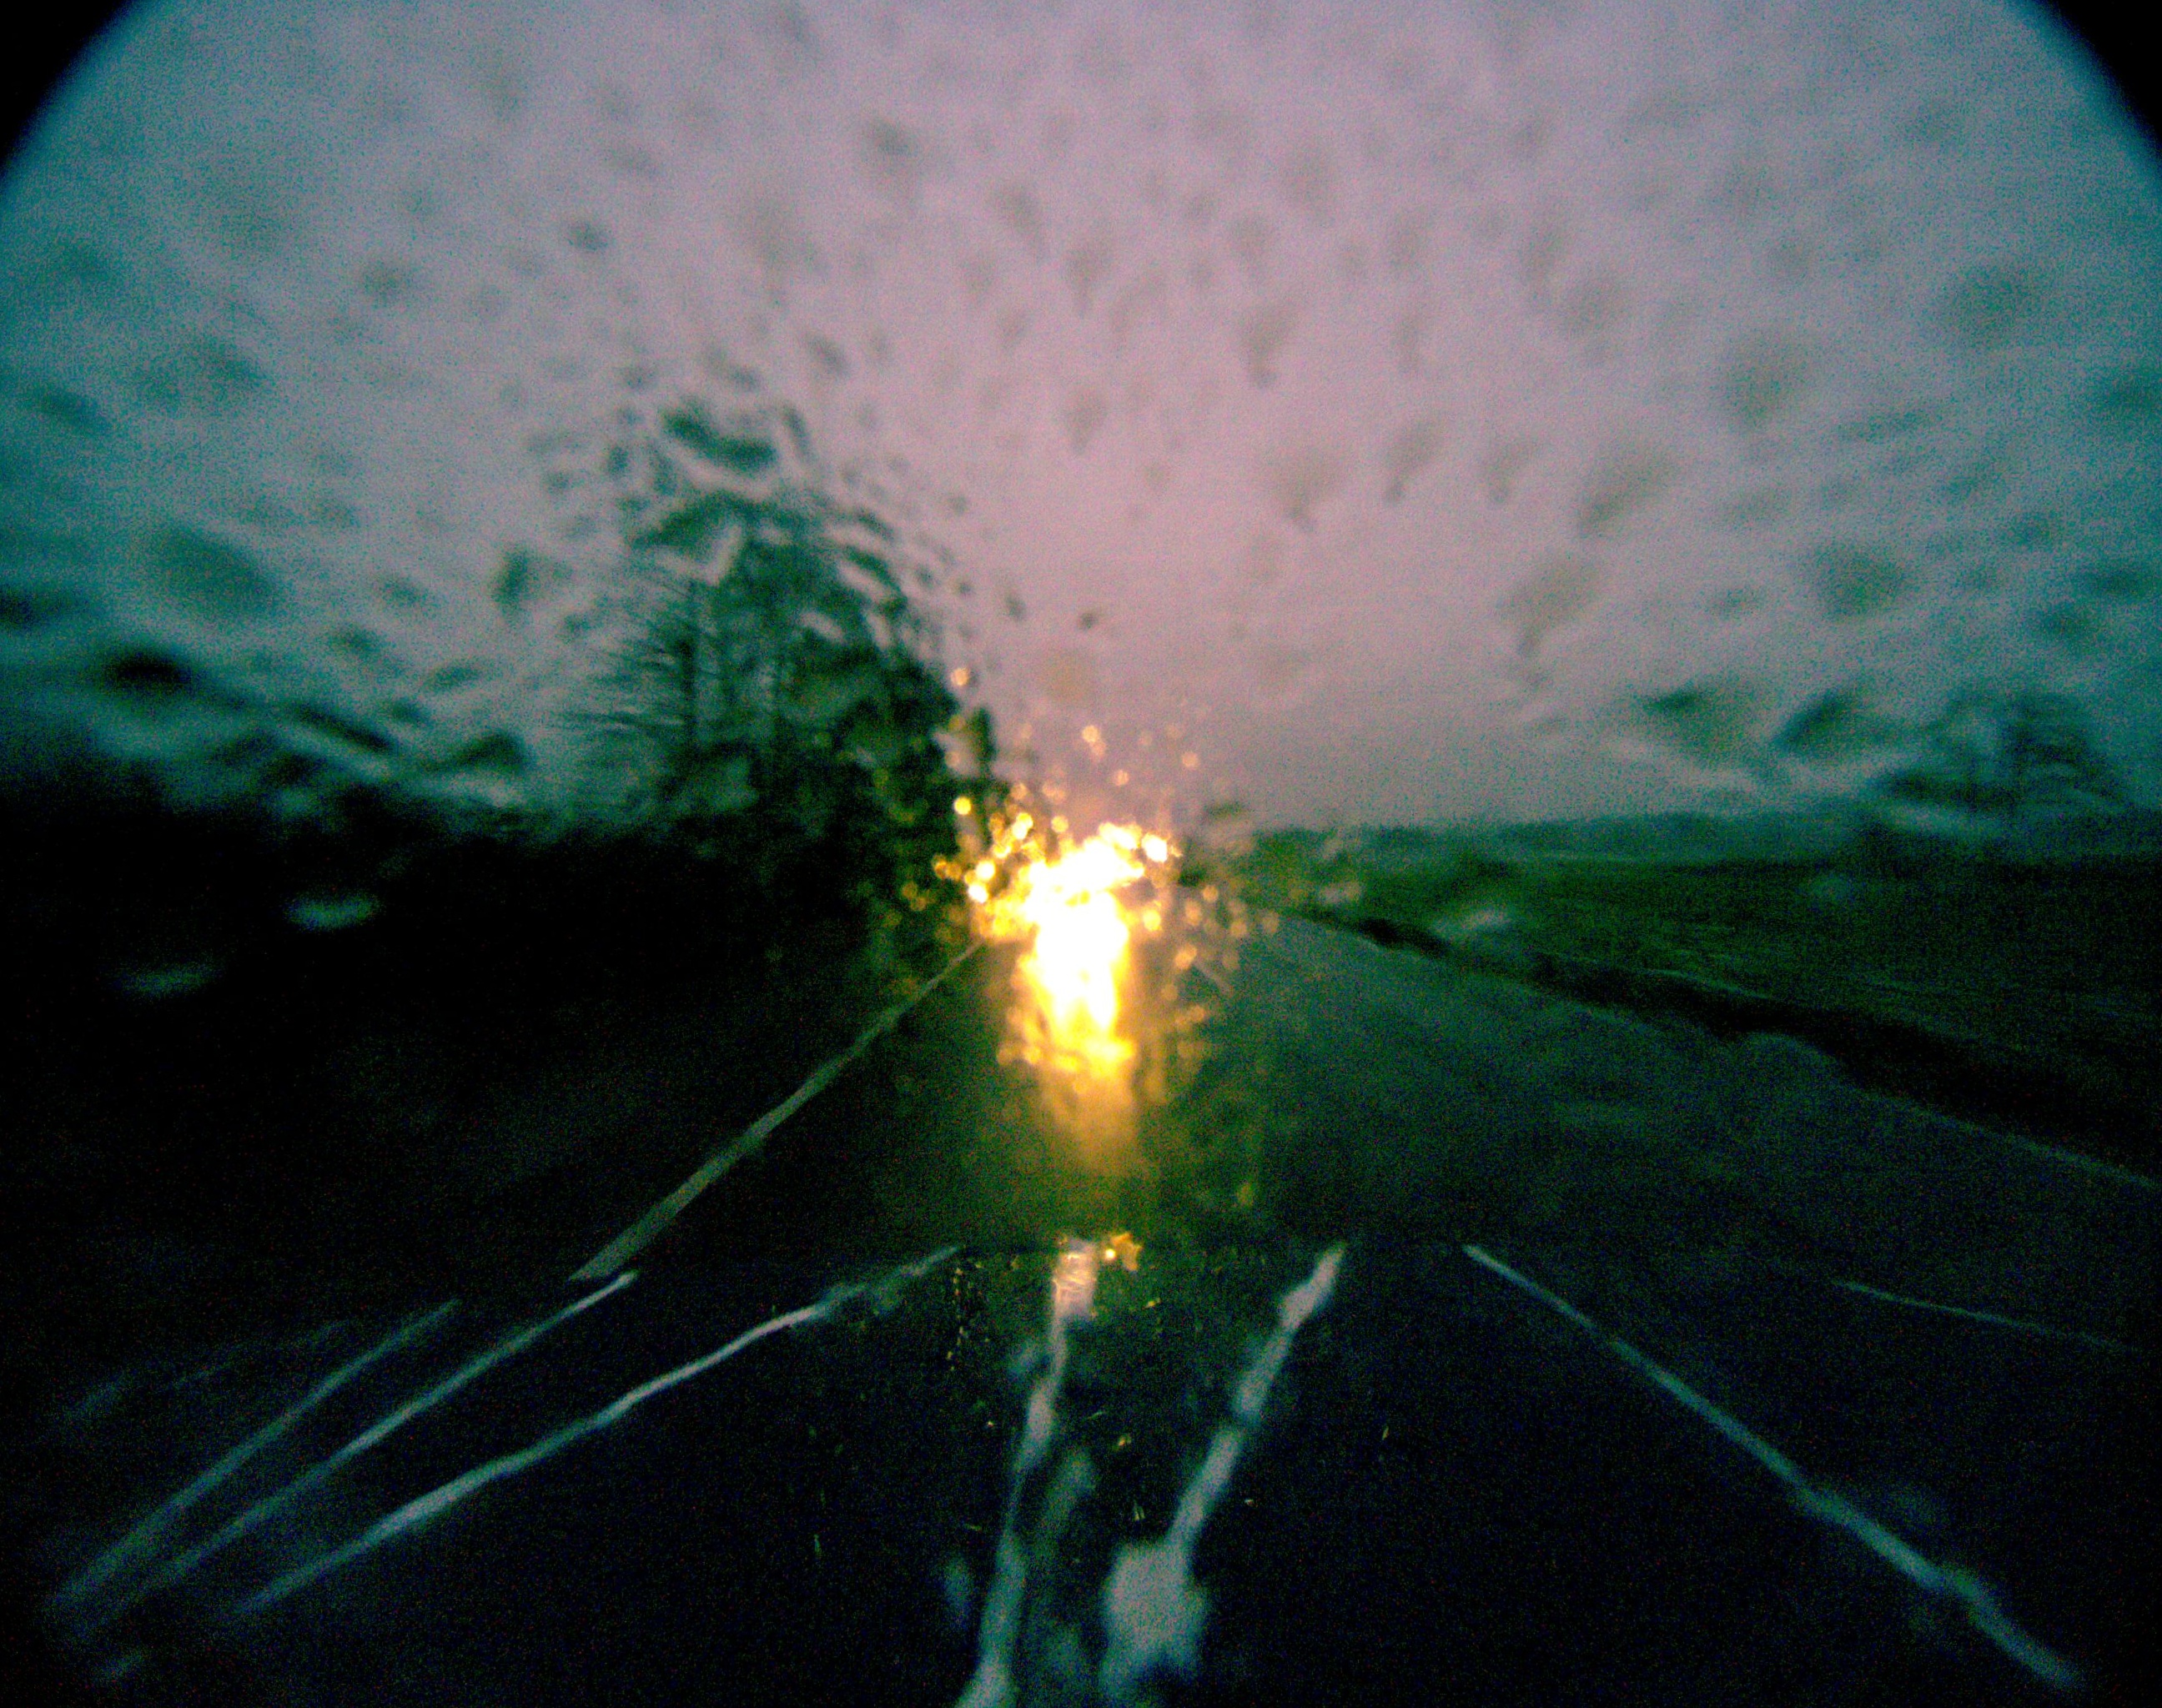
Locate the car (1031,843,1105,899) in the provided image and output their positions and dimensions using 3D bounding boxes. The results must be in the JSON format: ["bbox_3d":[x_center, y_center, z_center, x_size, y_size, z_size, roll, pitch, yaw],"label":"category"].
[{"bbox_3d":[-0.443,0.599,31.212,2.705,1.974,5.803,-2,1,1],"label":"car"}]
